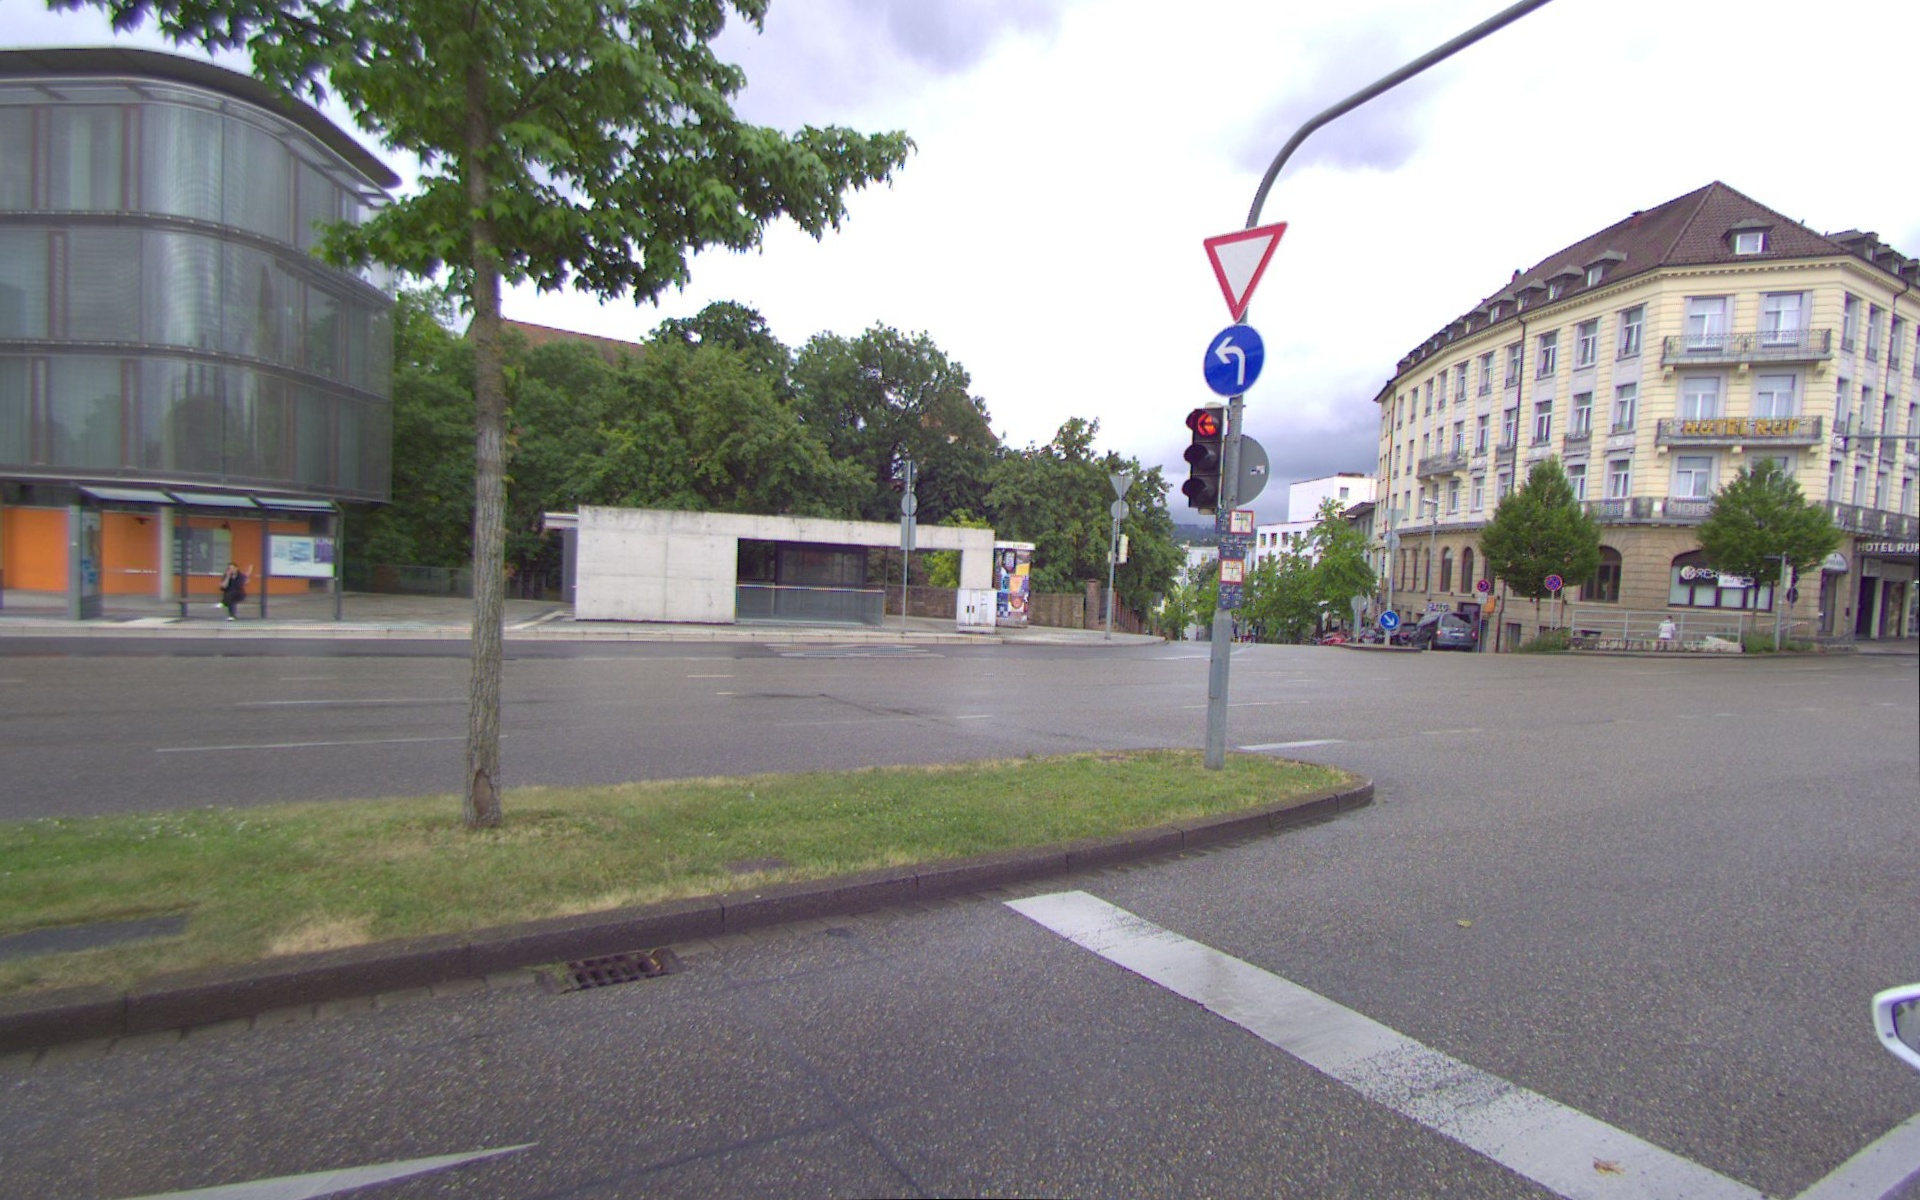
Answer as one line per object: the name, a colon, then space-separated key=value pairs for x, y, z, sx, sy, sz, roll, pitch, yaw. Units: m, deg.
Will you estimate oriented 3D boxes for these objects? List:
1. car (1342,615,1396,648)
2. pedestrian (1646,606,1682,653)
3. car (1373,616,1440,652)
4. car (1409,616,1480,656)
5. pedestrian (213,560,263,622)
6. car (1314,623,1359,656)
car: x=23.164 y=1.768 z=57.003 sx=1.757 sy=1.662 sz=3.916 roll=2 pitch=1 yaw=6
pedestrian: x=29.336 y=1.227 z=41.864 sx=1.010 sy=1.903 sz=0.859 roll=1 pitch=1 yaw=-30
car: x=22.909 y=1.714 z=51.704 sx=1.959 sy=1.662 sz=4.002 roll=2 pitch=0 yaw=6
car: x=21.736 y=1.573 z=45.198 sx=1.764 sy=1.589 sz=4.002 roll=2 pitch=1 yaw=9
pedestrian: x=-16.083 y=-0.195 z=22.391 sx=0.780 sy=1.341 sz=0.798 roll=1 pitch=1 yaw=-28
car: x=23.588 y=2.472 z=63.057 sx=1.741 sy=1.836 sz=3.624 roll=2 pitch=1 yaw=7
